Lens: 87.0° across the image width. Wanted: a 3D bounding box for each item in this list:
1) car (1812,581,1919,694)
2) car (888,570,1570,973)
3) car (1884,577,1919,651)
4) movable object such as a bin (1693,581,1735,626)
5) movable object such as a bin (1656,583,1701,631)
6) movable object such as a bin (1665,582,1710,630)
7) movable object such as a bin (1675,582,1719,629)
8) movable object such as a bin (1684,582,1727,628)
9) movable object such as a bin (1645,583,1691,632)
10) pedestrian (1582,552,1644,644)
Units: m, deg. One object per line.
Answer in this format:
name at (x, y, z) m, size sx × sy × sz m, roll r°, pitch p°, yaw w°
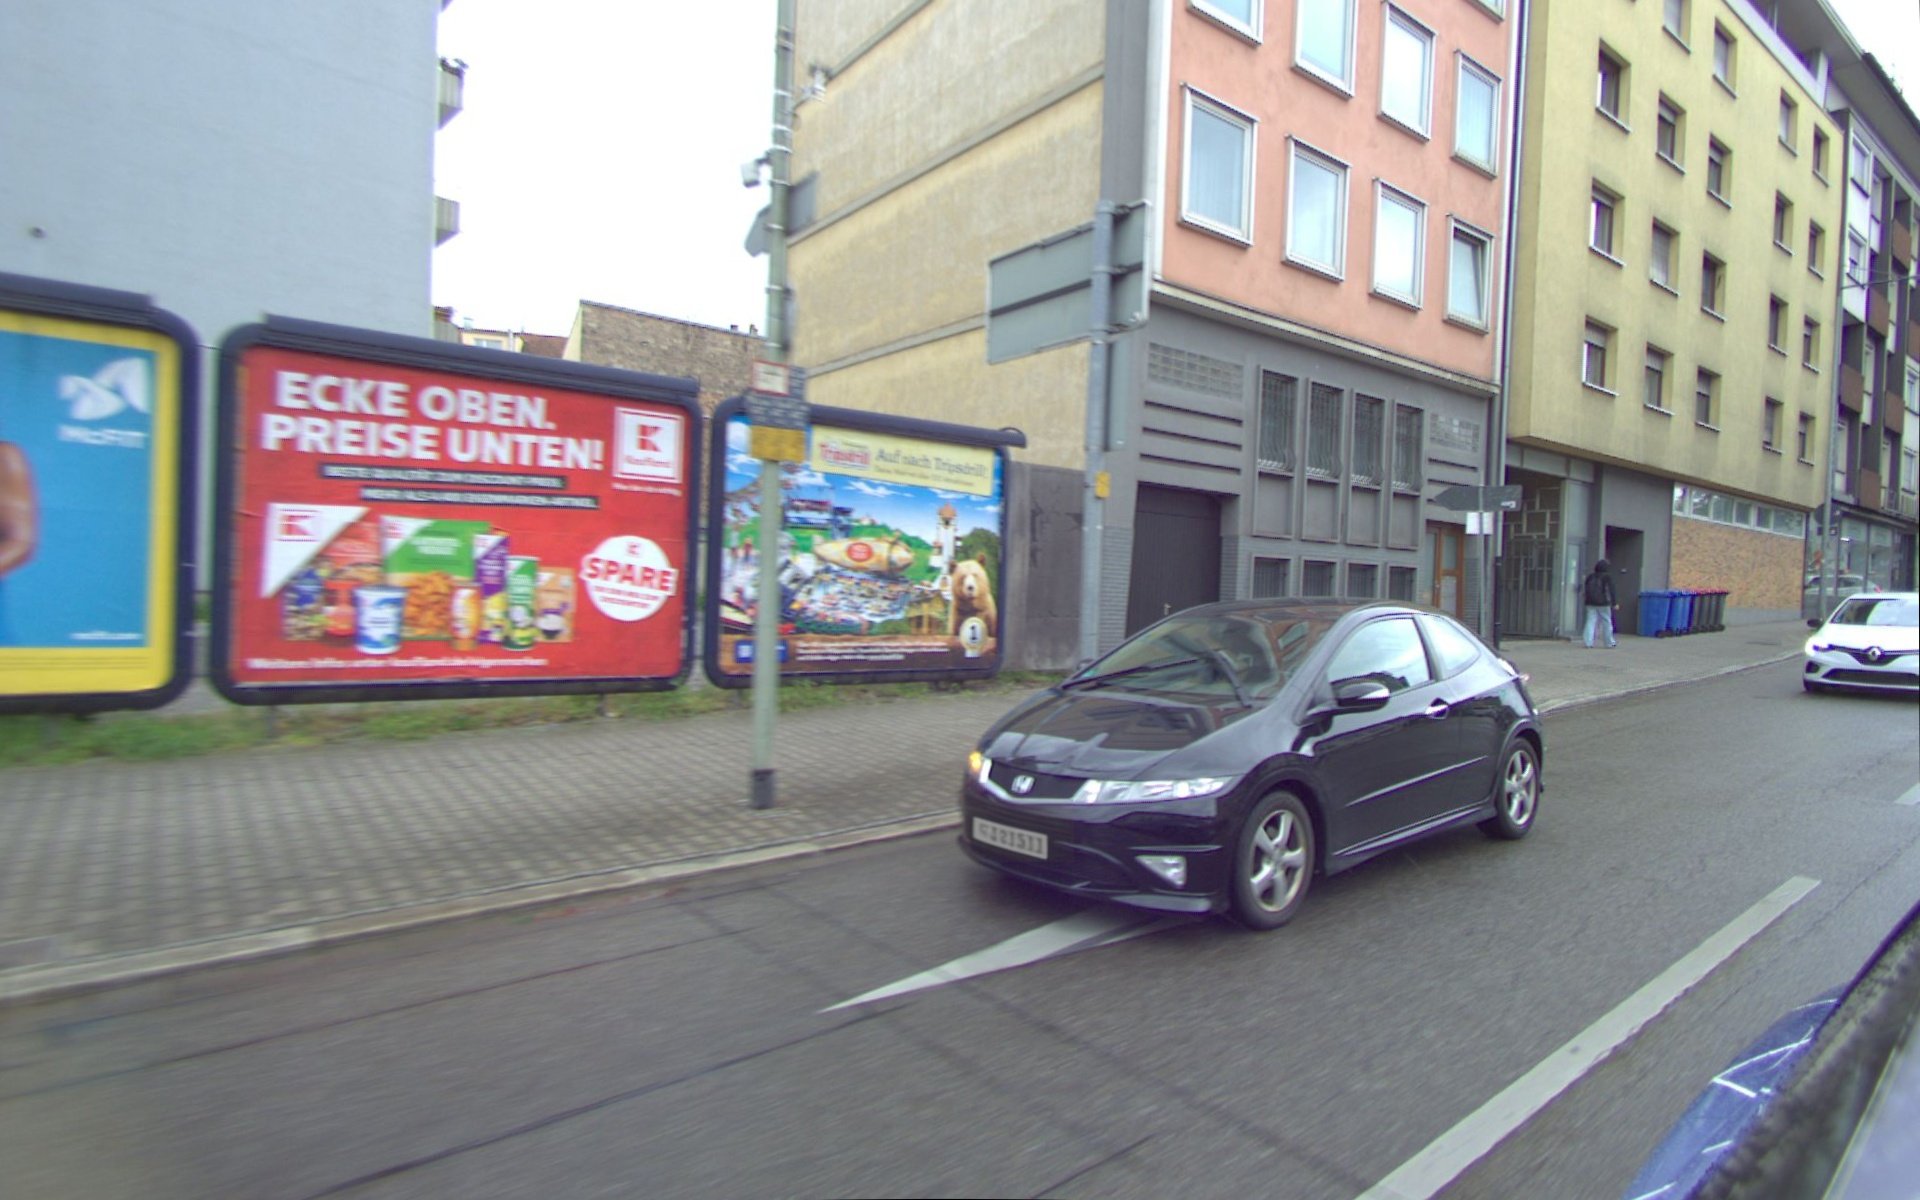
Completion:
car at (13.898, 0.465, 14.697) m, size 3.930 × 1.420 × 1.680 m, roll -2°, pitch 2°, yaw -40°
car at (1.724, 0.628, 5.771) m, size 3.984 × 1.515 × 1.787 m, roll 0°, pitch 0°, yaw -39°
car at (21.228, 0.269, 21.004) m, size 5.196 × 1.404 × 2.041 m, roll -1°, pitch 4°, yaw -37°
movable object such as a bin at (18.969, 0.079, 25.464) m, size 0.656 × 1.090 × 0.683 m, roll 0°, pitch 2°, yaw -39°
movable object such as a bin at (16.876, 0.146, 23.771) m, size 0.656 × 1.090 × 0.683 m, roll 0°, pitch 2°, yaw -39°
movable object such as a bin at (17.397, 0.137, 24.197) m, size 0.656 × 1.090 × 0.683 m, roll 0°, pitch 2°, yaw -39°
movable object such as a bin at (17.918, 0.123, 24.617) m, size 0.656 × 1.090 × 0.683 m, roll 0°, pitch 2°, yaw -39°
movable object such as a bin at (18.447, 0.110, 25.036) m, size 0.656 × 1.090 × 0.683 m, roll 0°, pitch 2°, yaw -39°
movable object such as a bin at (16.333, 0.164, 23.347) m, size 0.656 × 1.090 × 0.683 m, roll 0°, pitch 2°, yaw -39°
pedestrian at (13.156, -0.049, 20.393) m, size 1.074 × 1.810 × 0.675 m, roll 1°, pitch 1°, yaw -36°
